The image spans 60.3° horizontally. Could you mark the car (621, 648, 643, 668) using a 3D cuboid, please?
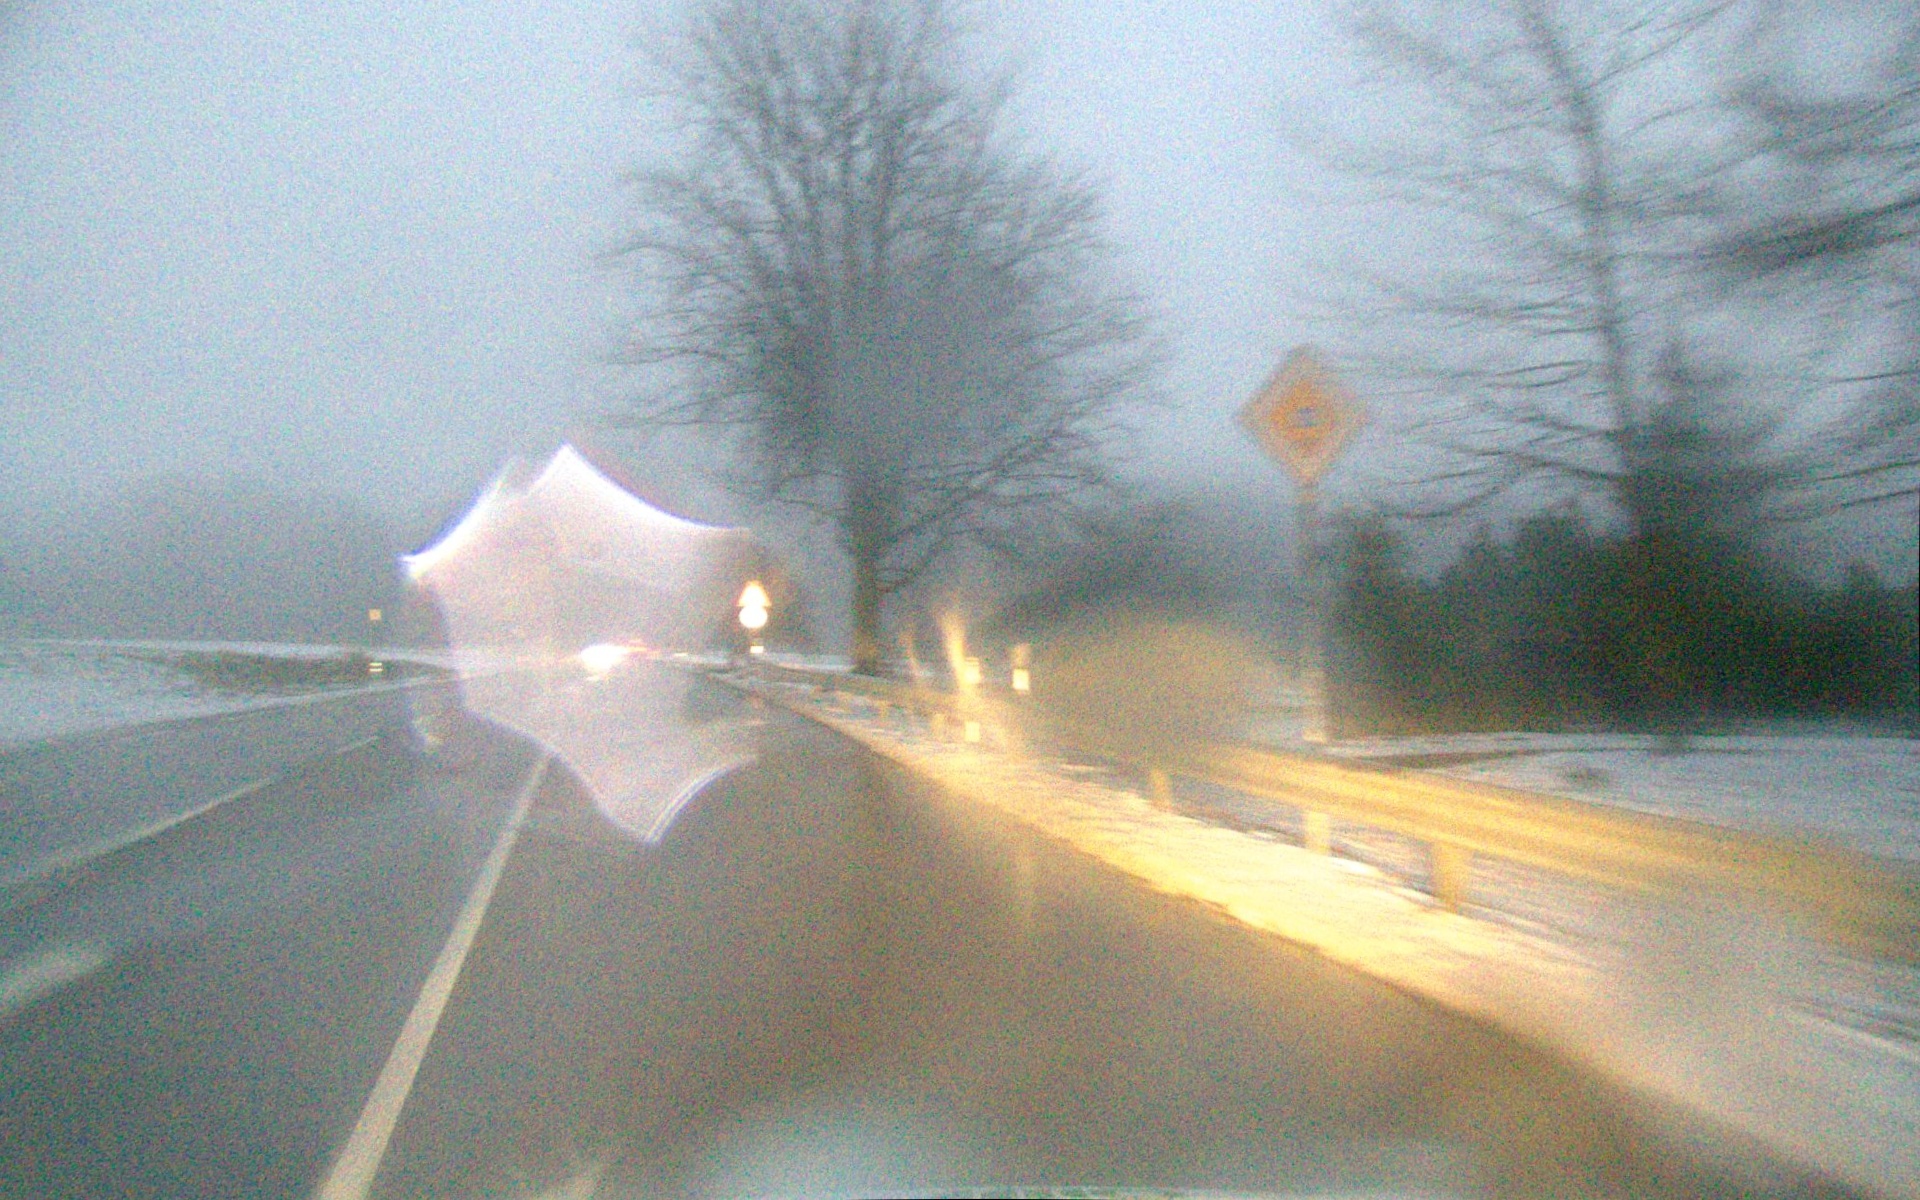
[{"bbox_3d":[-28.186,4.970,142.216,1.661,1.579,3.847,0,-1,-9],"label":"car"}]
